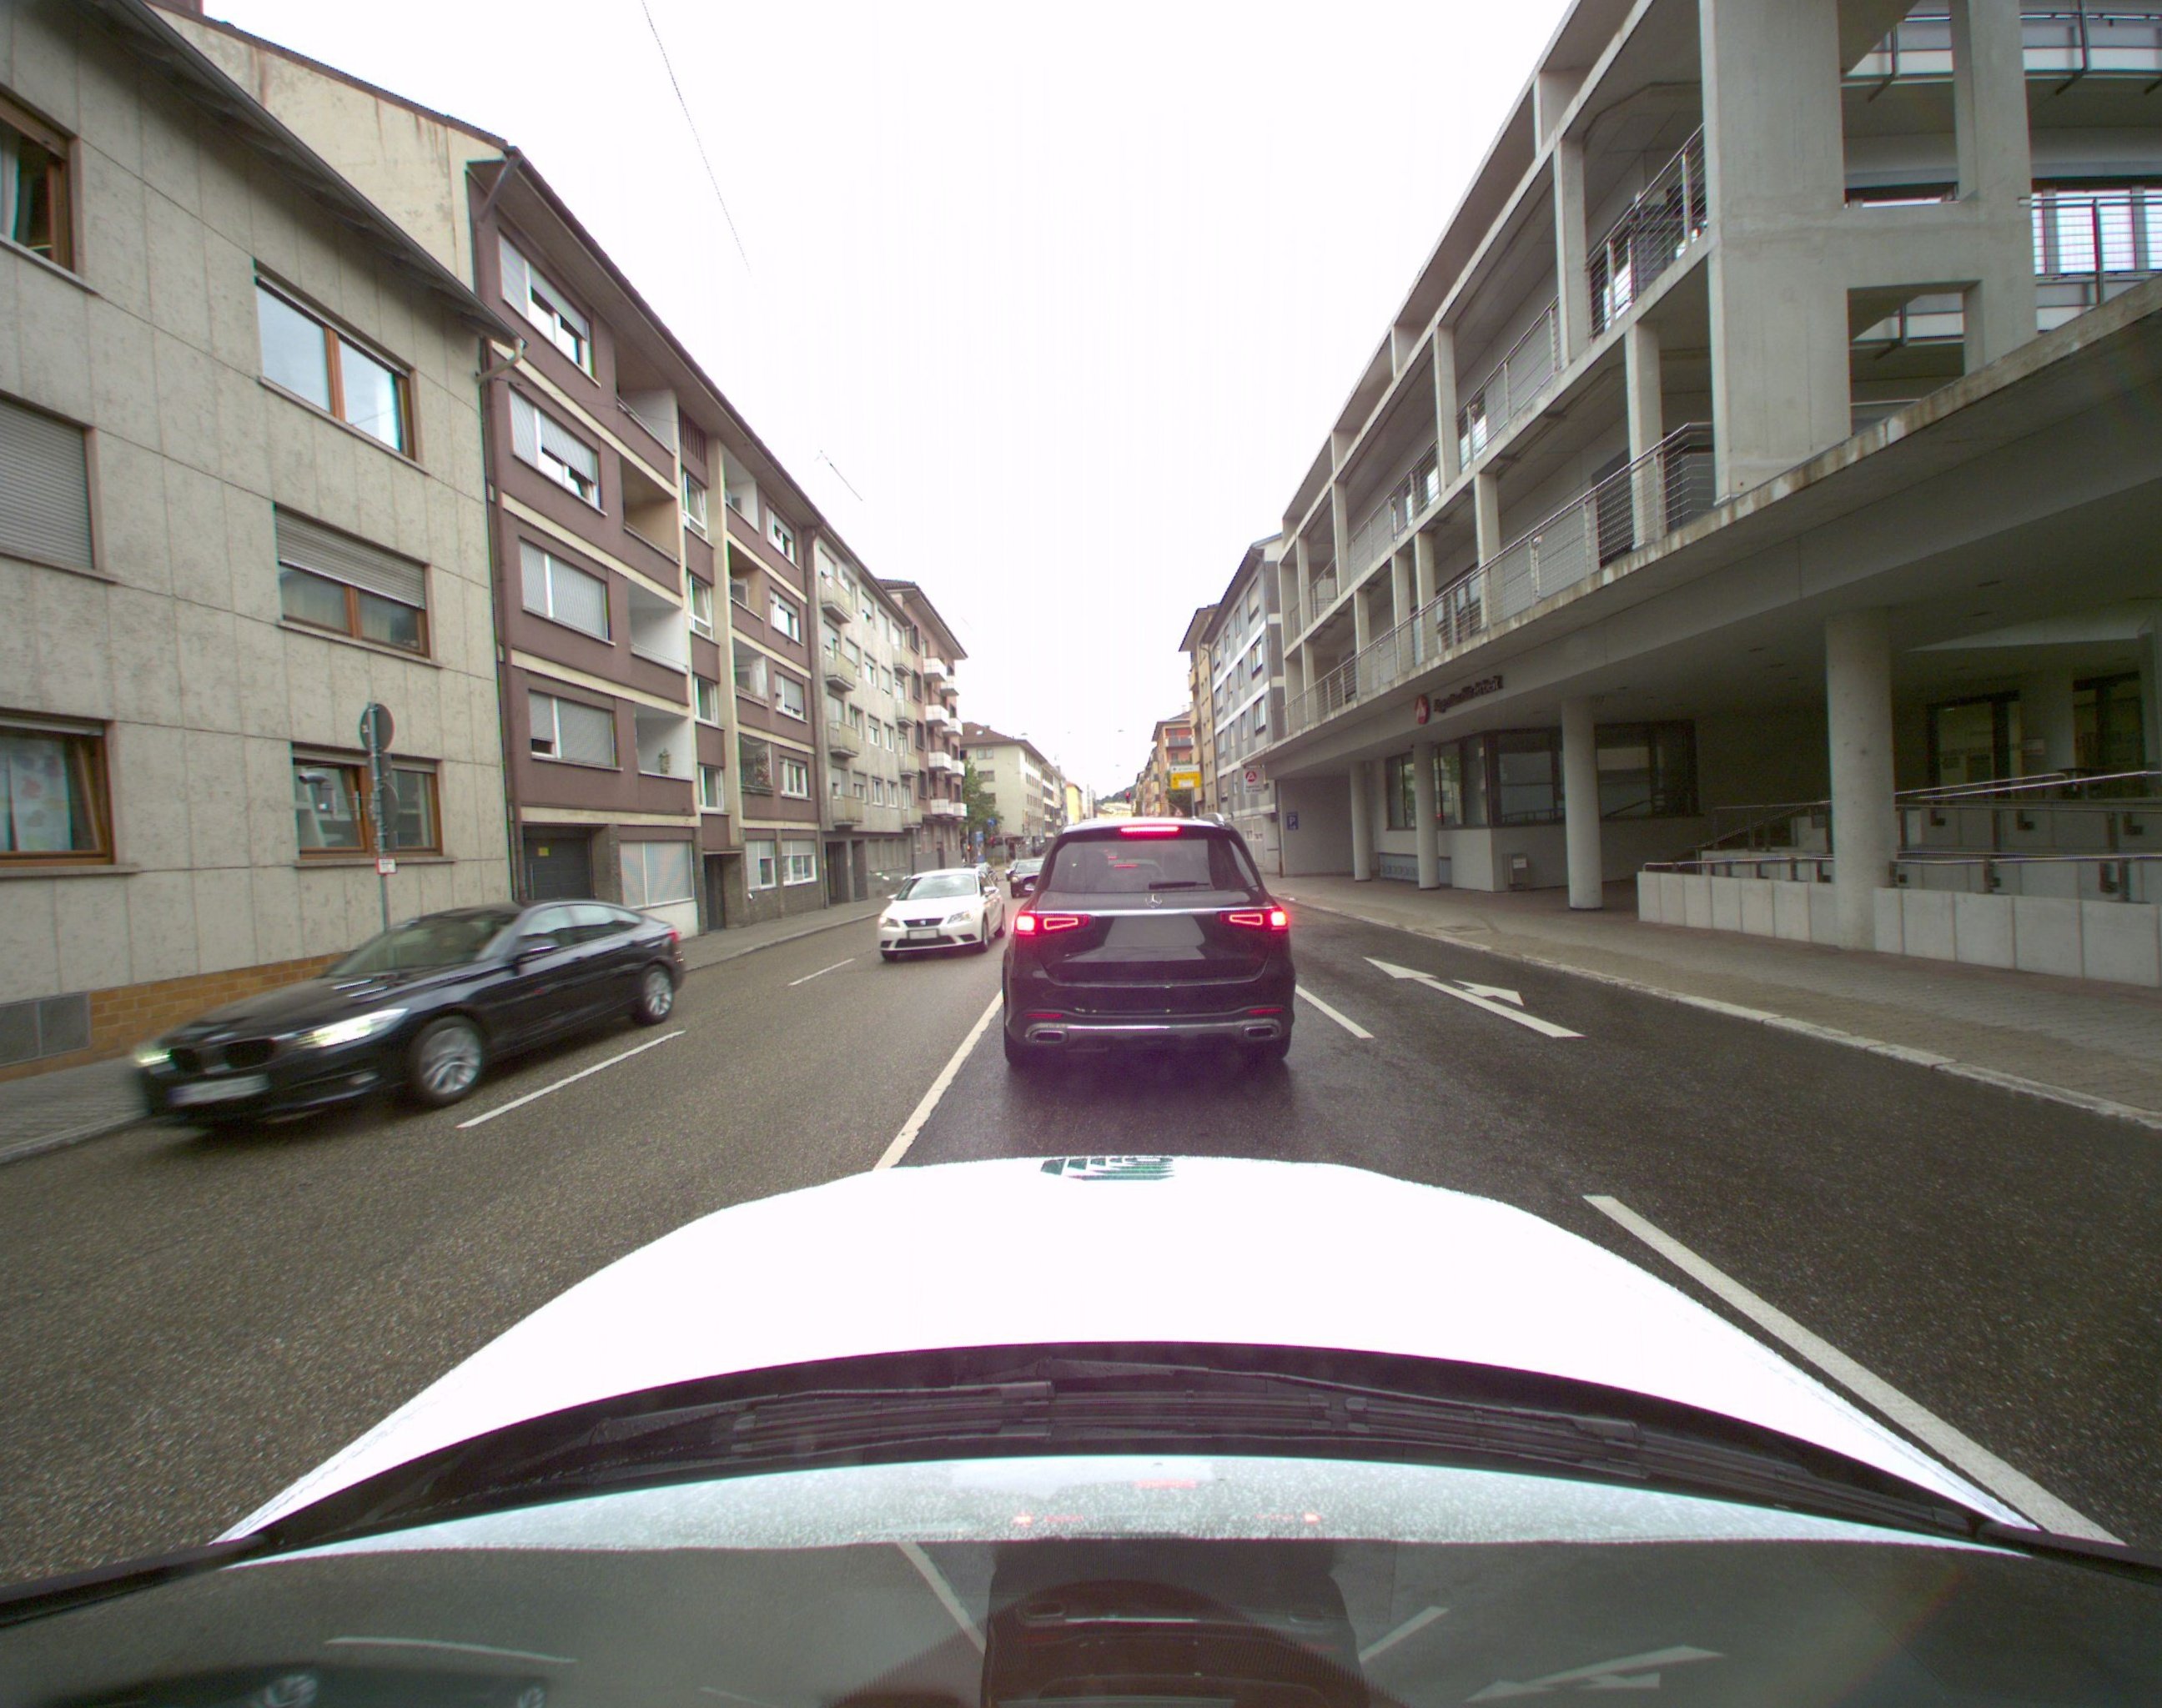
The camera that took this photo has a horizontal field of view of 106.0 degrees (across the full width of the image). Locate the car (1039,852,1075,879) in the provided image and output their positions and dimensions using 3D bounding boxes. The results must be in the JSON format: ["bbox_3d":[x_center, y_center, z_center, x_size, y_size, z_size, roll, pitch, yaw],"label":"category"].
[{"bbox_3d":[-1.338,0.672,47.588,1.688,1.370,4.220,-5,-1,2],"label":"car"}]

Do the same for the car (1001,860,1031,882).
[{"bbox_3d":[-4.724,1.211,59.751,1.689,1.370,4.366,-5,-1,0],"label":"car"}]

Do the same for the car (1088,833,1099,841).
[{"bbox_3d":[2.436,-3.229,158.986,1.879,1.264,4.216,-5,-1,0],"label":"car"}]

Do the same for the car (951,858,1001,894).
[{"bbox_3d":[-5.000,1.017,39.456,1.717,1.473,4.374,-5,0,0],"label":"car"}]

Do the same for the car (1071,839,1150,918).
[{"bbox_3d":[0.674,0.587,20.964,1.746,1.731,4.216,-3,-1,0],"label":"car"}]

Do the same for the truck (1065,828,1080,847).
[{"bbox_3d":[-1.588,-3.155,157.377,2.472,3.046,9.917,-4,-1,0],"label":"truck"}]

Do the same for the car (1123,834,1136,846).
[{"bbox_3d":[7.678,-2.194,128.744,1.613,1.539,4.216,-5,-1,0],"label":"car"}]

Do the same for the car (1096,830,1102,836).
[{"bbox_3d":[5.564,-6.348,250.437,1.613,1.539,4.216,-5,-1,0],"label":"car"}]

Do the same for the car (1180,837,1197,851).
[{"bbox_3d":[12.487,-1.160,94.544,1.664,1.588,3.334,-3,0,4],"label":"car"}]

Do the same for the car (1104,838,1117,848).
[{"bbox_3d":[4.929,-1.778,137.363,1.986,1.488,4.002,-4,0,2],"label":"car"}]

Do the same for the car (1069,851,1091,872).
[{"bbox_3d":[-0.036,0.610,68.996,1.689,1.580,4.218,-5,-1,1],"label":"car"}]

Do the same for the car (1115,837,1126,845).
[{"bbox_3d":[7.862,-2.611,163.178,1.879,1.372,4.216,-5,-1,0],"label":"car"}]

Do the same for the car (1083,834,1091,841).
[{"bbox_3d":[1.466,-3.930,193.977,1.613,1.539,4.216,-5,-1,0],"label":"car"}]

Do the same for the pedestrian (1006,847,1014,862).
[{"bbox_3d":[-8.917,0.039,102.395,0.920,1.902,0.706,-3,0,0],"label":"pedestrian"}]

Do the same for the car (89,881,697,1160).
[{"bbox_3d":[-5.582,1.165,7.581,1.689,1.539,4.436,-7,-1,1],"label":"car"}]

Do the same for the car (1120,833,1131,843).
[{"bbox_3d":[8.026,-2.855,146.285,1.613,1.539,4.216,-5,-1,0],"label":"car"}]

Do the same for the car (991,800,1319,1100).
[{"bbox_3d":[0.517,0.601,7.143,1.977,1.805,4.391,0,-1,2],"label":"car"}]

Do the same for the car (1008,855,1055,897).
[{"bbox_3d":[-1.984,0.876,33.715,1.613,1.539,4.216,-5,-1,0],"label":"car"}]

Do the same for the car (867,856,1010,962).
[{"bbox_3d":[-2.430,0.893,14.893,1.738,1.539,4.053,-5,-1,1],"label":"car"}]

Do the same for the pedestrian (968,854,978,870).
[{"bbox_3d":[-12.041,0.916,90.624,0.763,1.764,0.642,-3,0,34],"label":"pedestrian"}]

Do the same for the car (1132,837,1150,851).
[{"bbox_3d":[6.883,-1.179,93.395,1.613,1.387,4.216,-5,-1,0],"label":"car"}]

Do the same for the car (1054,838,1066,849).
[{"bbox_3d":[-3.376,-1.692,131.953,1.613,1.539,4.216,-5,-1,0],"label":"car"}]
